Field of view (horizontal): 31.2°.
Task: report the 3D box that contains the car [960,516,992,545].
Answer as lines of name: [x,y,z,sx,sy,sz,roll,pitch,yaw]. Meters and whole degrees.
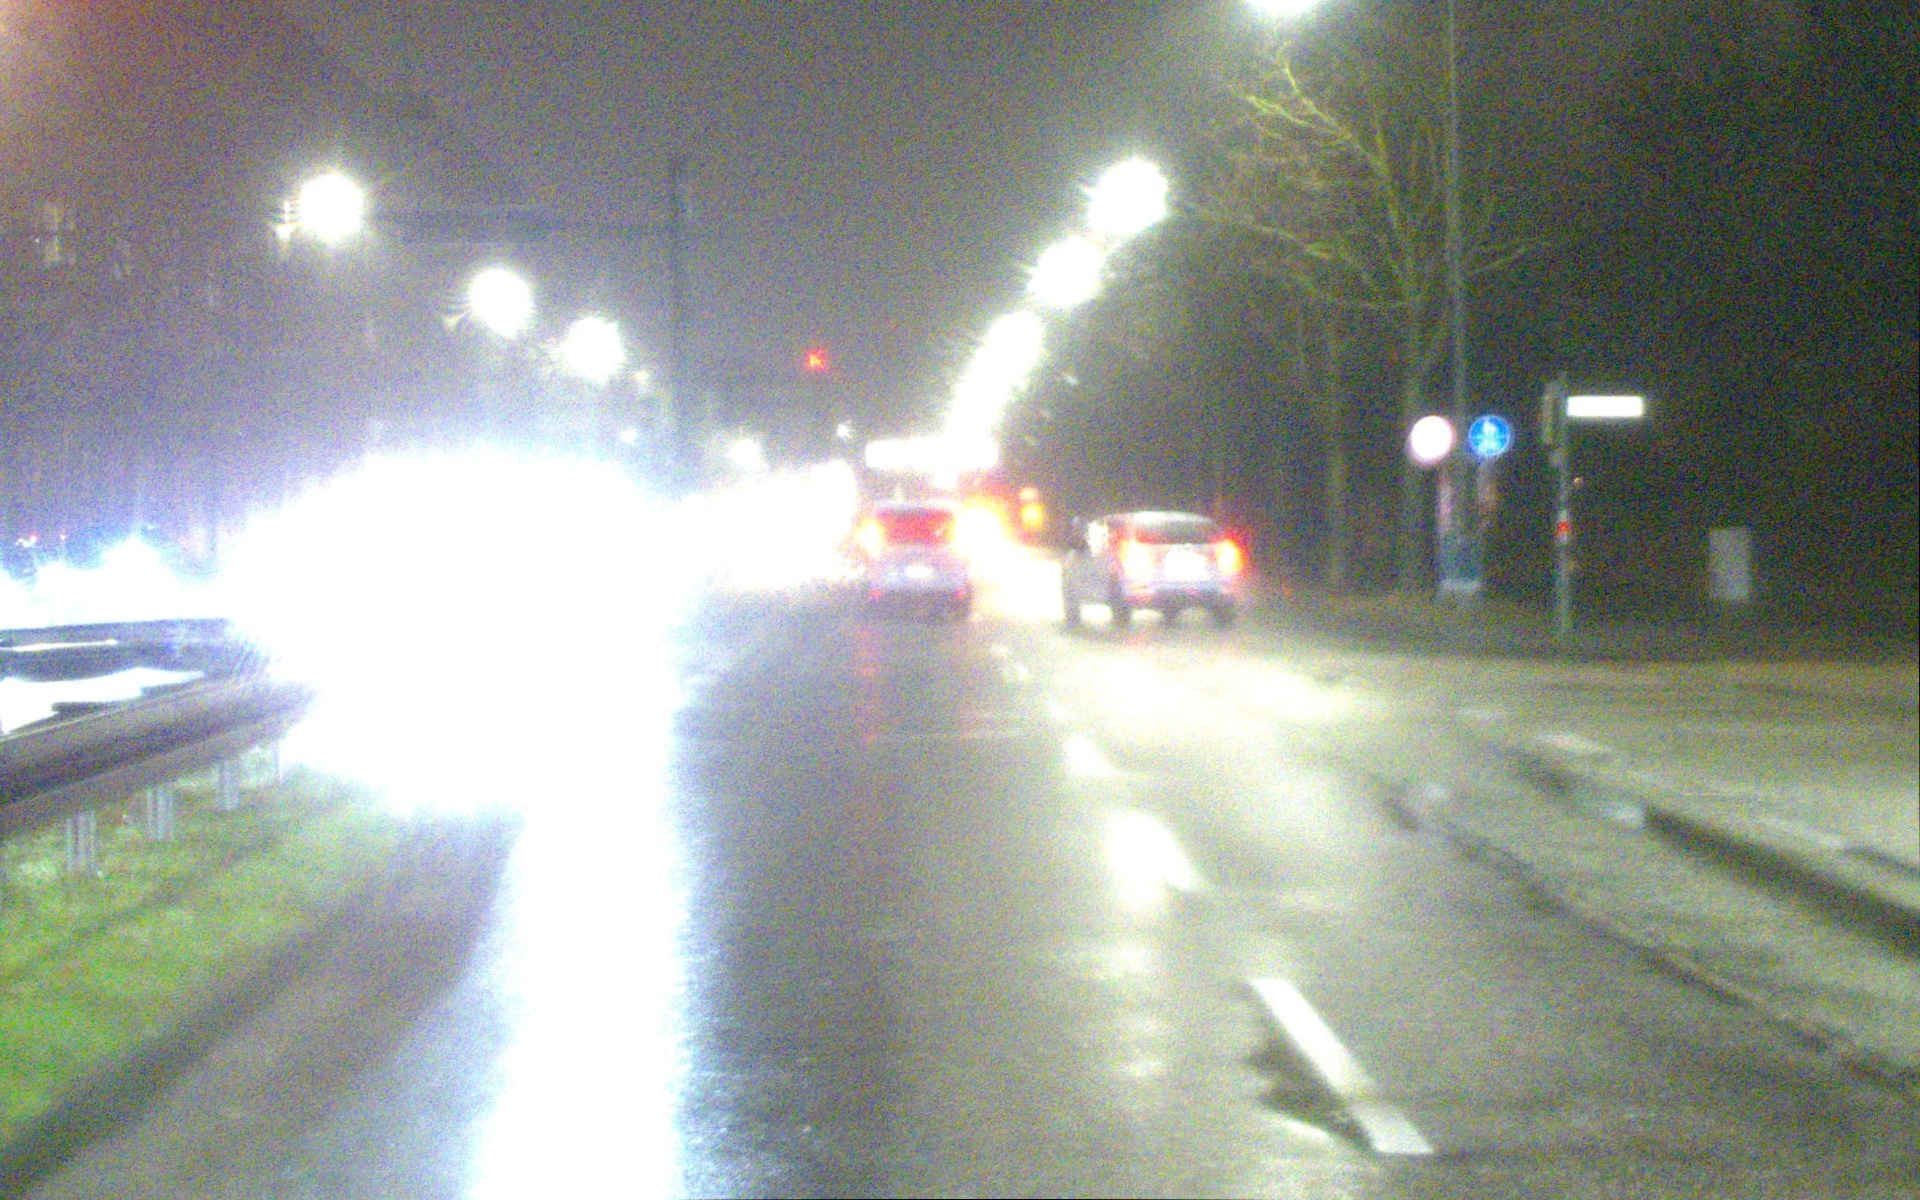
car: [1.008,-4.459,220.803,1.993,1.753,4.000,1,1,-1]

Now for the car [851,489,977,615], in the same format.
car: [-0.758,-0.745,53.802,1.790,1.868,4.628,1,1,-3]

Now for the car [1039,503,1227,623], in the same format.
car: [2.489,-0.546,50.642,1.790,1.673,4.430,1,1,-10]
